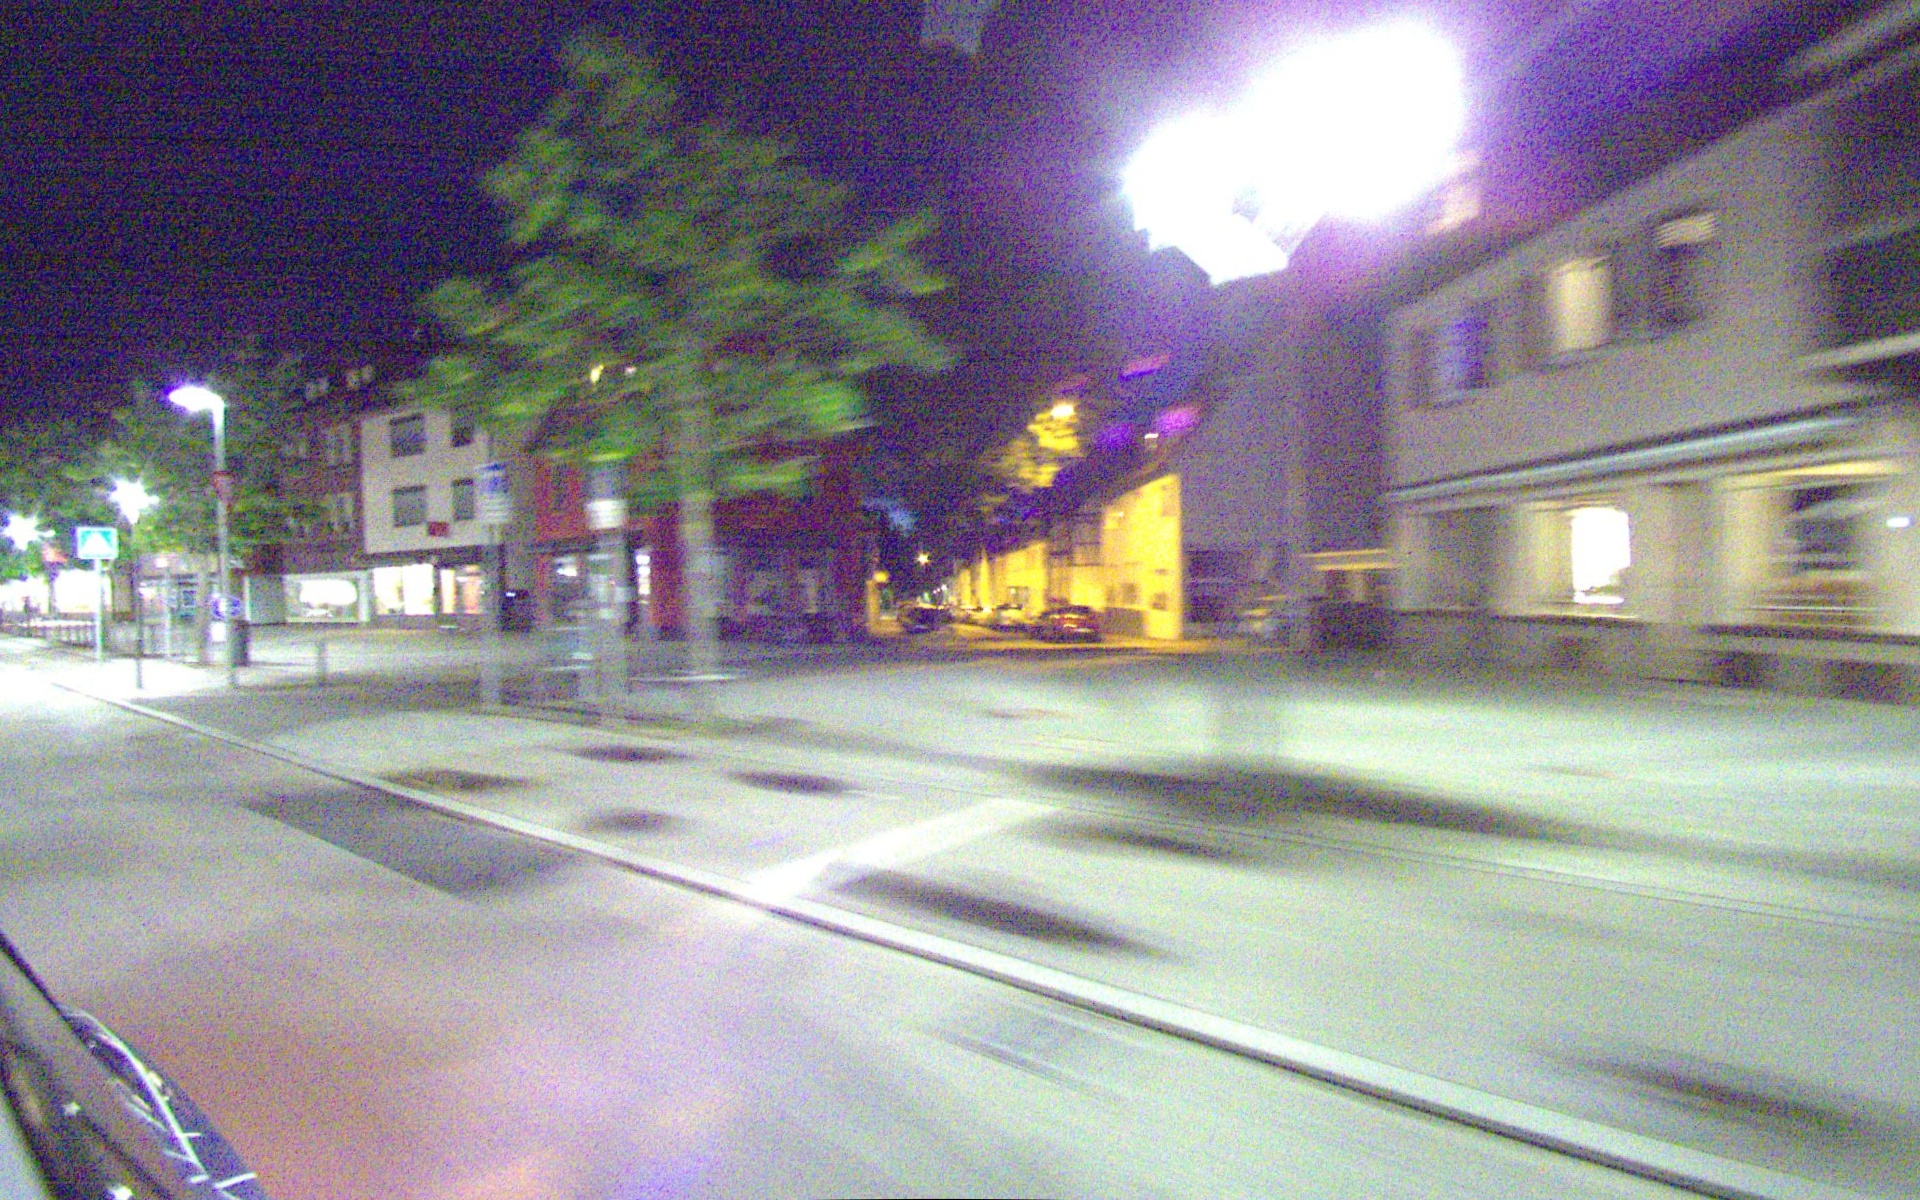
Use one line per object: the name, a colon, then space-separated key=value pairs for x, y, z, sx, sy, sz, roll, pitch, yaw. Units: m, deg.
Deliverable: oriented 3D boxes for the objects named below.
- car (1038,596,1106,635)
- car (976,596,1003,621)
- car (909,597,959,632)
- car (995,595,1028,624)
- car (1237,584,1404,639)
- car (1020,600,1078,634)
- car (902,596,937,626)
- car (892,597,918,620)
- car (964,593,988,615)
car: x=4.183 y=0.613 z=38.260 sx=1.793 sy=1.386 sz=4.004 roll=0 pitch=-1 yaw=-5
car: x=1.962 y=0.564 z=68.093 sx=1.553 sy=1.580 sz=3.422 roll=0 pitch=1 yaw=-3
car: x=-1.099 y=0.617 z=41.252 sx=1.793 sy=1.386 sz=4.004 roll=0 pitch=-1 yaw=-5
car: x=2.914 y=0.522 z=58.182 sx=1.553 sy=1.580 sz=3.422 roll=0 pitch=1 yaw=-3
car: x=10.099 y=0.324 z=28.494 sx=3.938 sy=1.453 sz=1.923 roll=-1 pitch=-1 yaw=-6
car: x=3.793 y=0.756 z=43.672 sx=1.793 sy=1.386 sz=4.004 roll=0 pitch=-1 yaw=-5
car: x=-2.328 y=0.641 z=56.948 sx=1.793 sy=1.650 sz=4.004 roll=0 pitch=-1 yaw=-5
car: x=-4.180 y=0.644 z=76.265 sx=1.793 sy=1.650 sz=4.004 roll=0 pitch=-1 yaw=-5
car: x=1.201 y=0.312 z=76.922 sx=1.553 sy=1.580 sz=3.422 roll=0 pitch=1 yaw=-3
